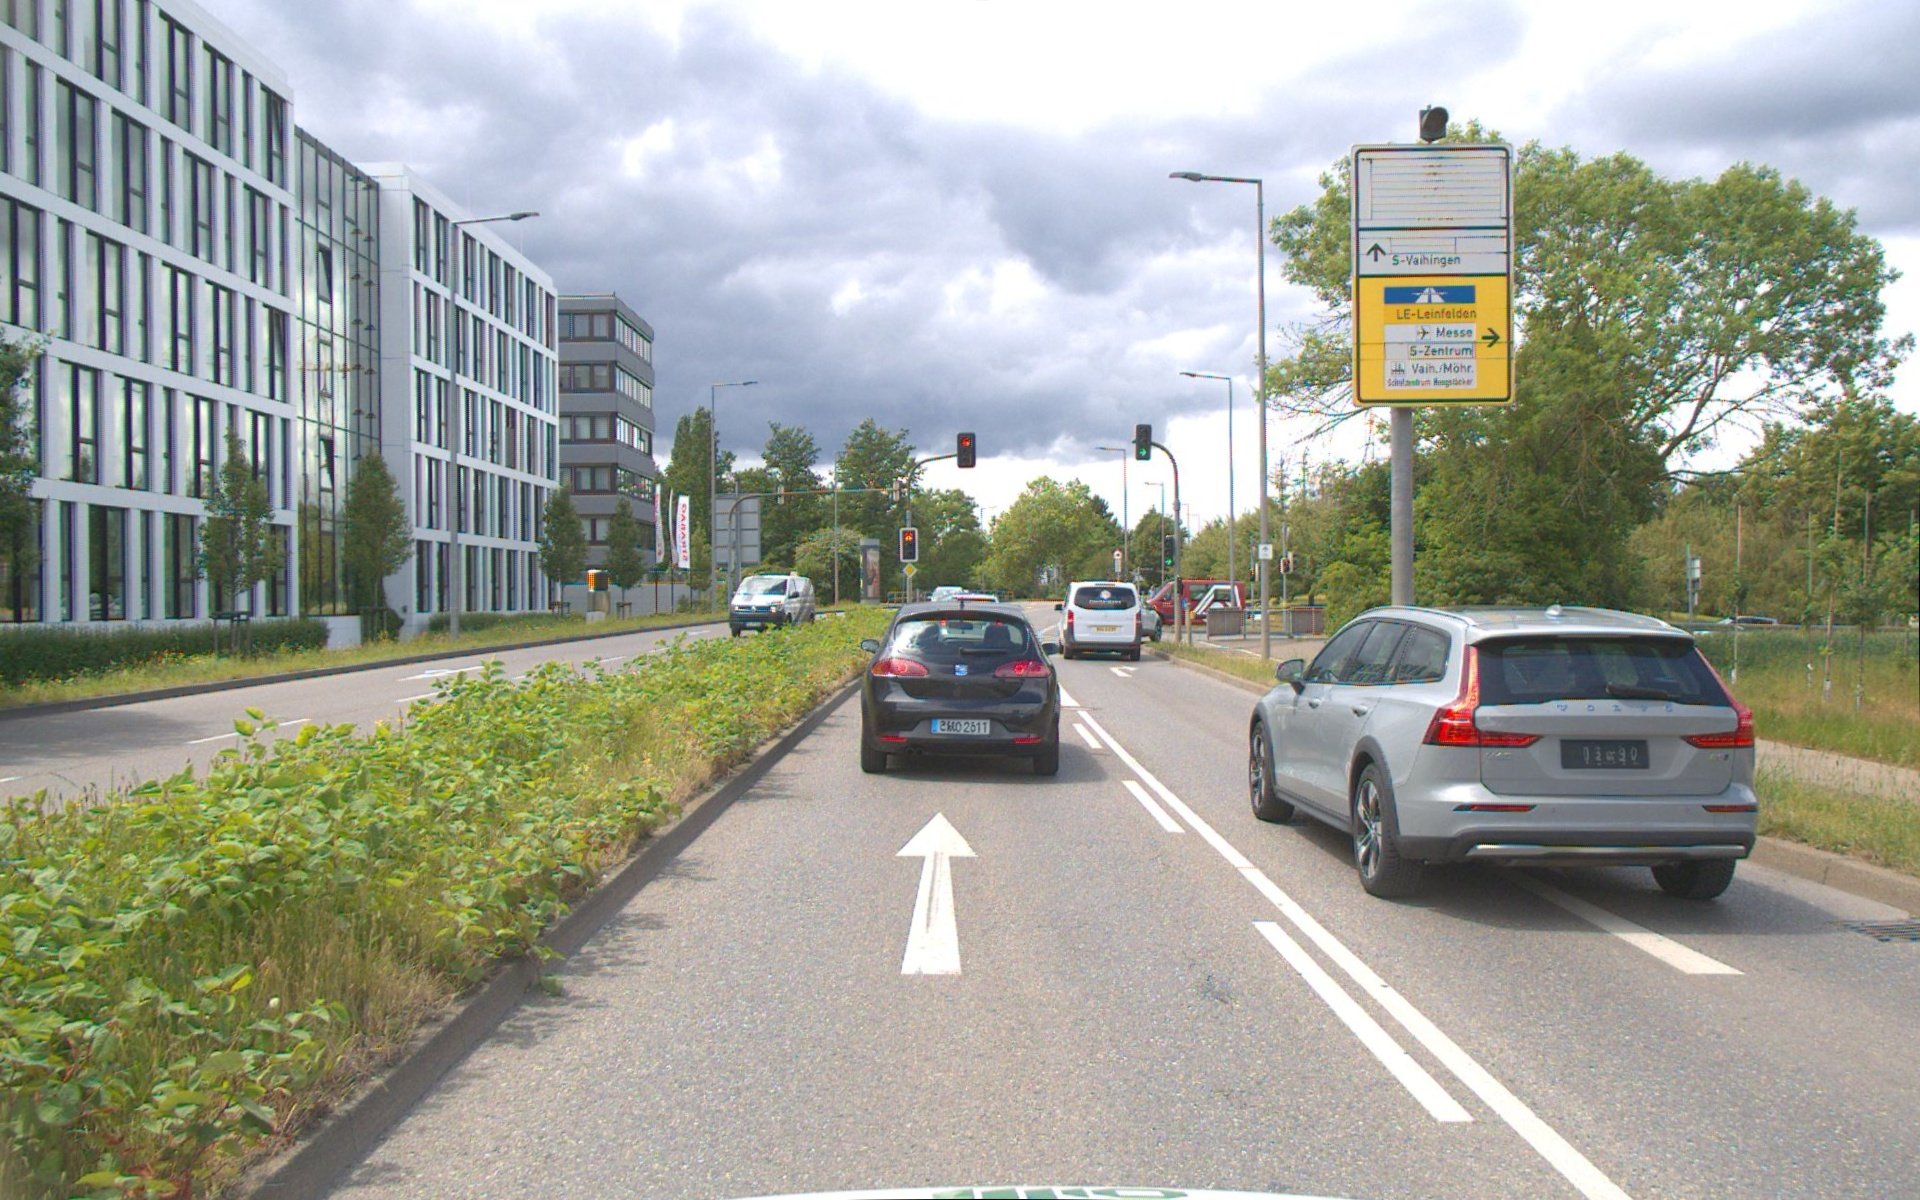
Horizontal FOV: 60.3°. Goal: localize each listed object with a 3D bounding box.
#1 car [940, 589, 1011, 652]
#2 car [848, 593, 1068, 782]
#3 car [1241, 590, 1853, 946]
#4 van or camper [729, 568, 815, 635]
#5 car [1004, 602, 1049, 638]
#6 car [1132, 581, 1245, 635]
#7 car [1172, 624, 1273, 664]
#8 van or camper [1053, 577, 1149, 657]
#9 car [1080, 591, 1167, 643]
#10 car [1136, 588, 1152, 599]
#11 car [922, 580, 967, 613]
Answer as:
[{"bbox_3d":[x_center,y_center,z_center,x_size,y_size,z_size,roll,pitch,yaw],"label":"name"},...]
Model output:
[{"bbox_3d":[0.358,0.496,42.599,1.737,1.517,3.581,-1,0,-1],"label":"car"},{"bbox_3d":[0.018,0.694,15.060,1.736,1.477,3.583,1,0,1],"label":"car"},{"bbox_3d":[2.991,0.725,9.560,1.825,1.545,4.445,-1,0,-2],"label":"car"},{"bbox_3d":[-6.042,0.038,53.658,1.952,2.049,4.818,0,0,4],"label":"van or camper"},{"bbox_3d":[3.111,0.907,77.047,1.951,1.624,4.002,0,0,4],"label":"car"},{"bbox_3d":[10.582,0.348,76.727,5.112,2.454,2.001,0,0,6],"label":"car"},{"bbox_3d":[9.644,1.608,60.839,3.322,1.369,1.683,0,0,-14],"label":"car"},{"bbox_3d":[3.455,0.389,41.377,1.953,1.892,4.943,0,0,0],"label":"van or camper"},{"bbox_3d":[5.387,0.540,54.065,1.952,1.624,4.001,0,0,19],"label":"car"},{"bbox_3d":[24.345,-0.869,218.549,1.951,1.375,4.004,1,0,9],"label":"car"},{"bbox_3d":[-0.767,-0.196,83.500,1.951,1.624,4.002,0,0,4],"label":"car"}]
